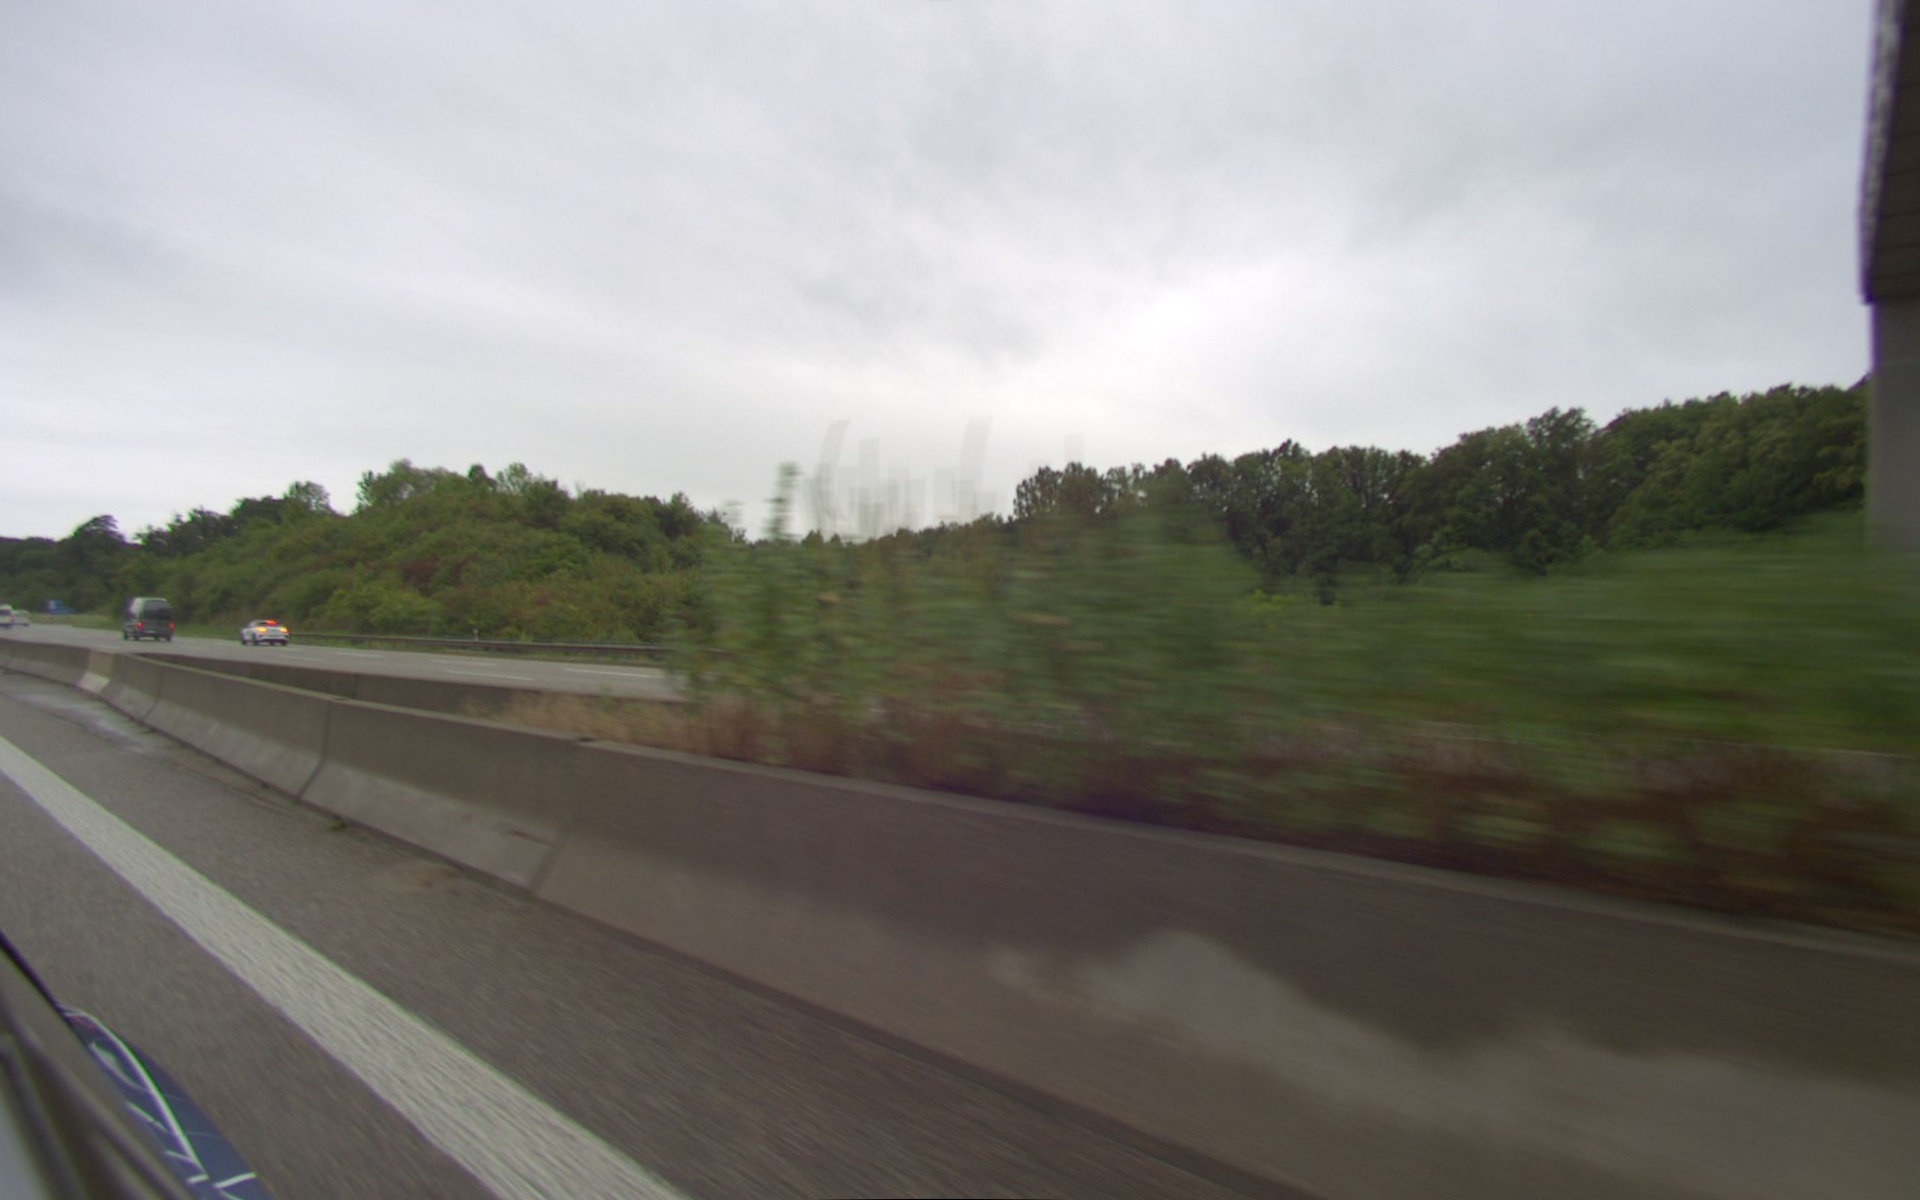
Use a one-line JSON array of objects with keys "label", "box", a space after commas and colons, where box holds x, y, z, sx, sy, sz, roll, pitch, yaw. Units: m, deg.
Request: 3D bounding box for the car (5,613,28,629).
[{"label": "car", "box": [-118.988, 2.619, 127.627, 4.529, 1.918, 1.723, -1, -2, 42]}]

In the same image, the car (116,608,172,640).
[{"label": "car", "box": [-57.269, 1.673, 70.980, 6.414, 2.184, 1.972, -1, -2, 42]}]

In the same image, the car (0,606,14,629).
[{"label": "car", "box": [-101.330, 1.896, 106.427, 6.174, 2.349, 2.252, -2, -3, 43]}]

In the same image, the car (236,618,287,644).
[{"label": "car", "box": [-44.047, 1.931, 63.820, 4.143, 1.597, 1.697, -1, -2, 42]}]
